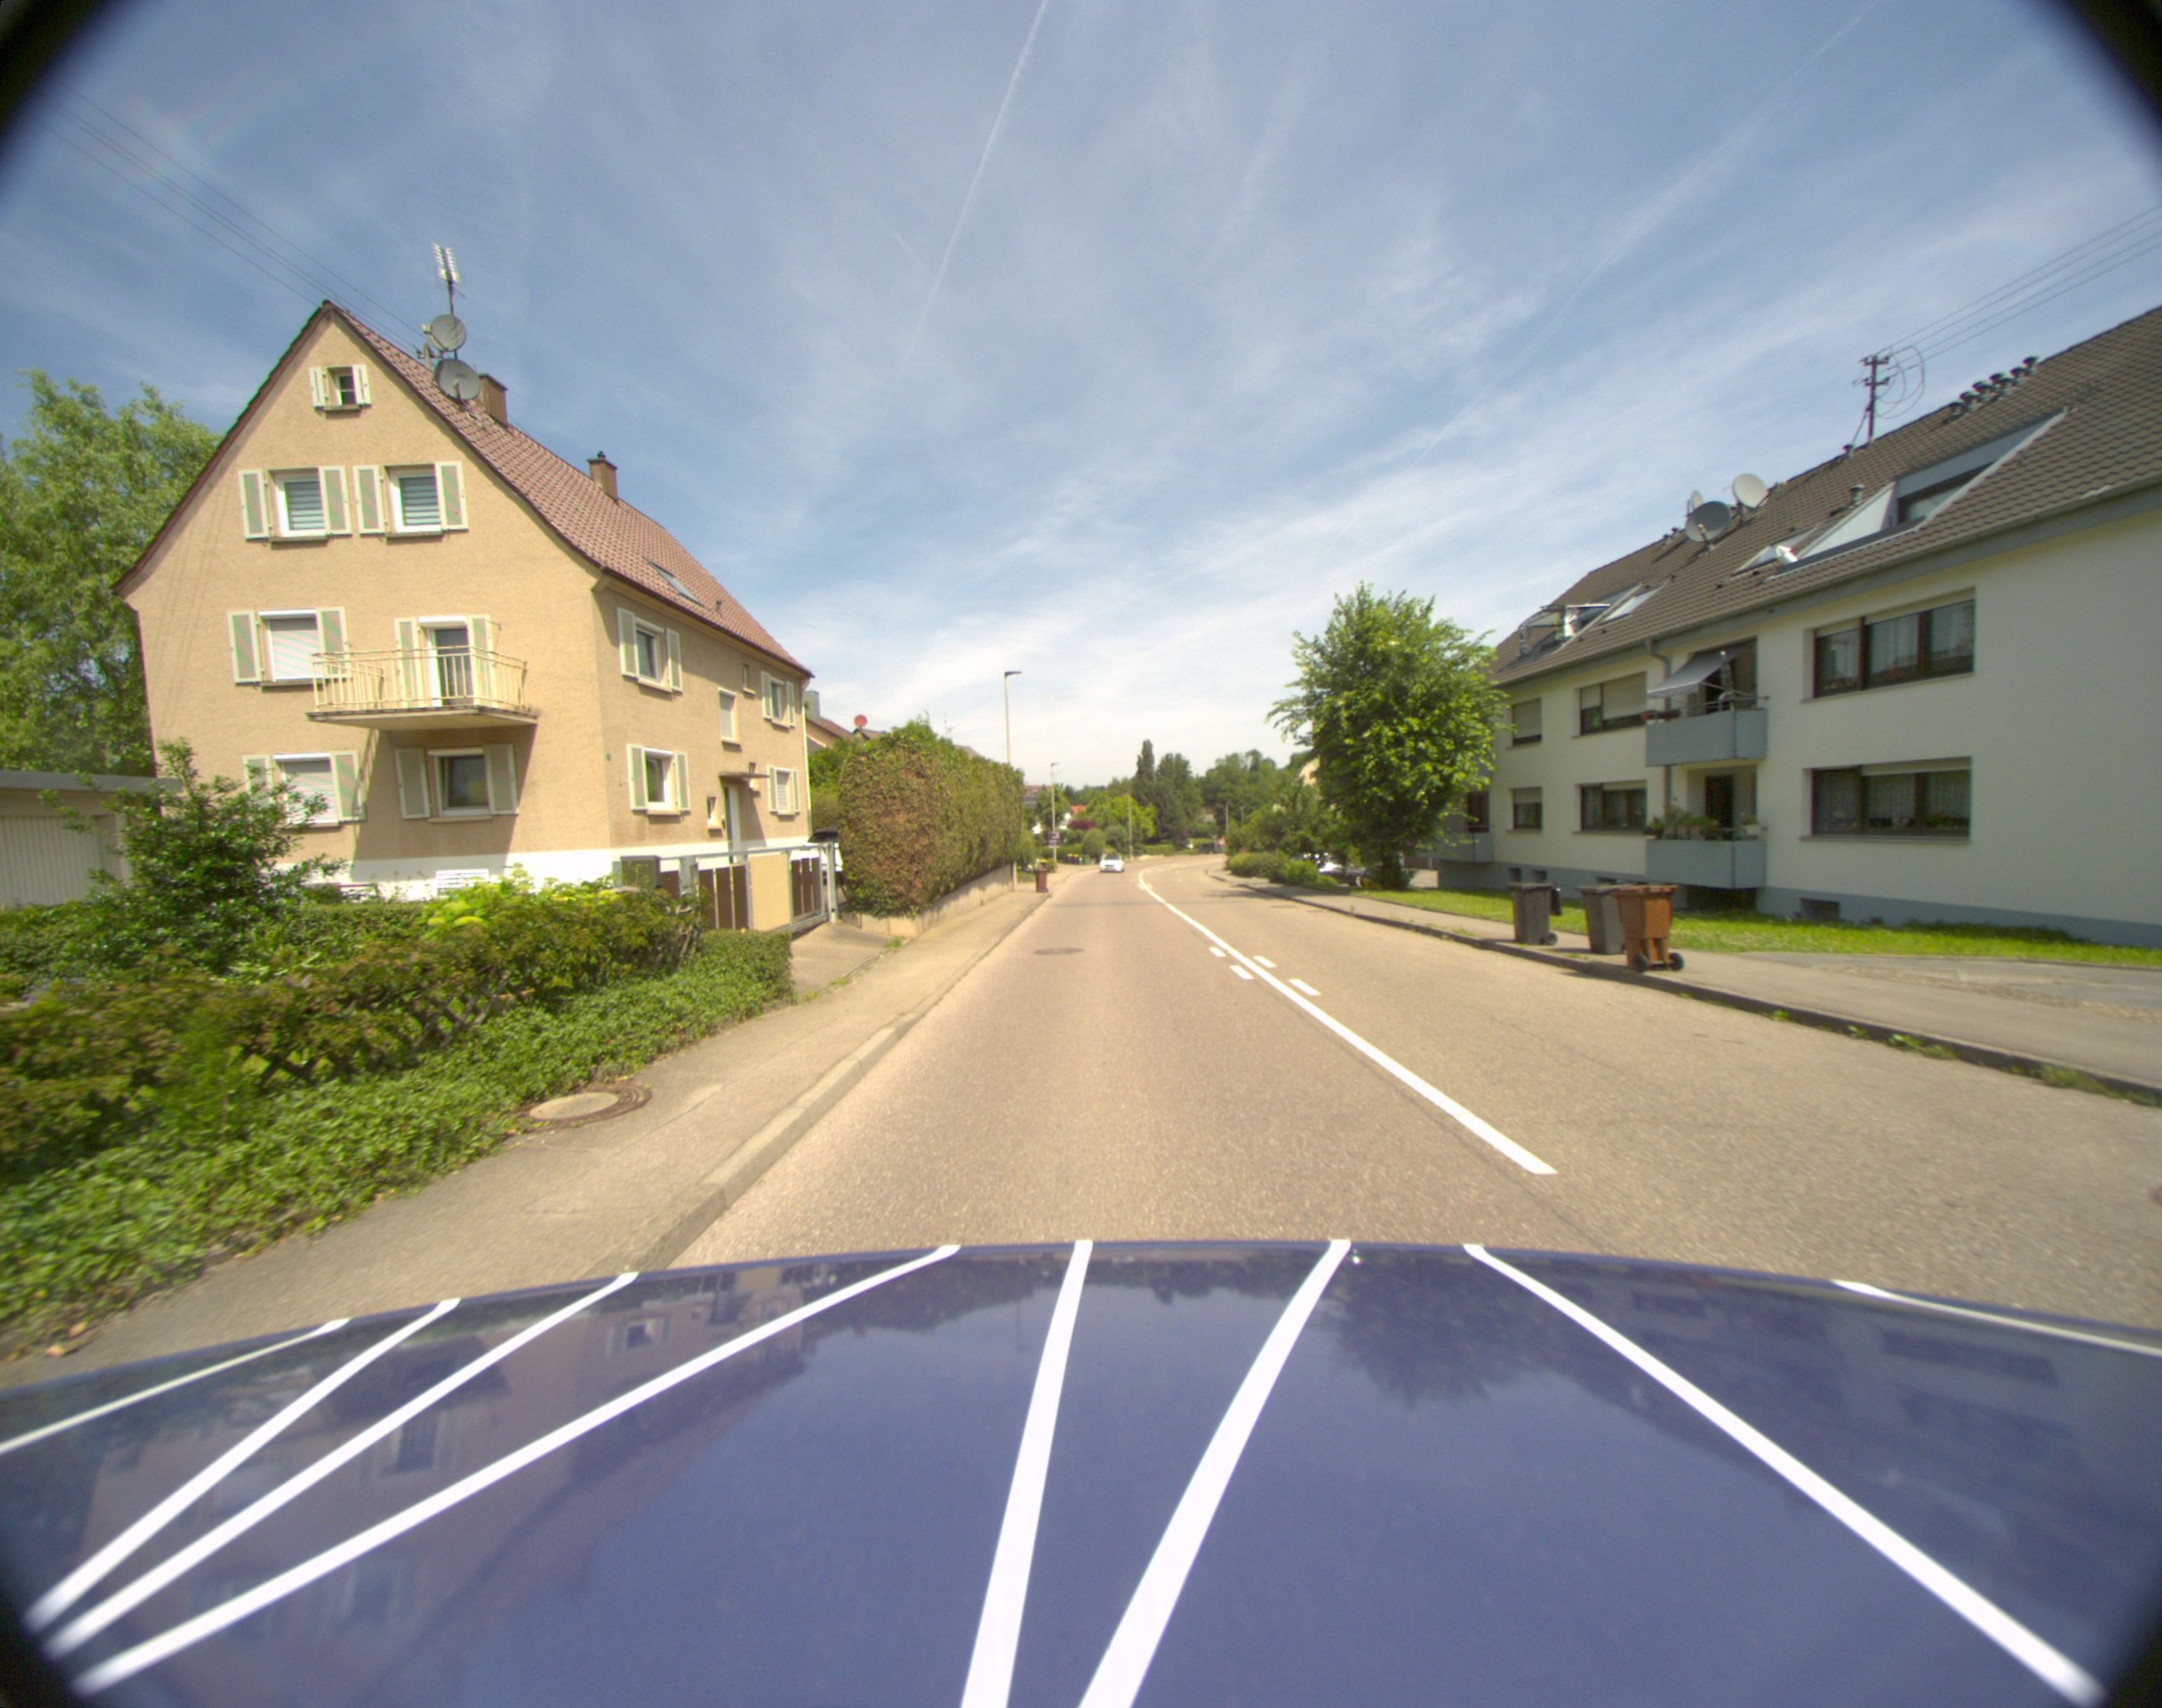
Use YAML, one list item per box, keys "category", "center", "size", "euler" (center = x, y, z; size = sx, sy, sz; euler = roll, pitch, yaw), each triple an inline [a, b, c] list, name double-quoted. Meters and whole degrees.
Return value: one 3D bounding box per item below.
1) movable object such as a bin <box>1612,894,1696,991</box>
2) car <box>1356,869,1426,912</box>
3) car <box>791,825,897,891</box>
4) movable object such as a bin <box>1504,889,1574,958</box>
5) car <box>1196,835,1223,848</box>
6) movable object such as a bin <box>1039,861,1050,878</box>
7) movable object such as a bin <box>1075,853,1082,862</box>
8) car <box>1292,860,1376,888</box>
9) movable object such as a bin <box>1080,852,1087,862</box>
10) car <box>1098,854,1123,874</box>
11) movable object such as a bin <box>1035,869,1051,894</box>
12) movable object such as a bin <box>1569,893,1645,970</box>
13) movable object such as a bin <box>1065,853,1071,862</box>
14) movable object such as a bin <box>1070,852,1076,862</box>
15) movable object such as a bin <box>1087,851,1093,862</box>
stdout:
- category: "movable object such as a bin"
  center: [6.210, 0.950, 8.261]
  size: [0.507, 0.982, 0.563]
  euler: [-1, 1, 8]
- category: "car"
  center: [13.254, 1.520, 32.689]
  size: [1.475, 1.532, 3.230]
  euler: [-1, 3, -5]
- category: "car"
  center: [-6.226, 0.035, 20.393]
  size: [1.609, 1.474, 3.557]
  euler: [-2, 4, 1]
- category: "movable object such as a bin"
  center: [6.537, 0.984, 10.871]
  size: [0.620, 0.912, 0.686]
  euler: [-1, 1, 8]
- category: "car"
  center: [20.795, -2.040, 123.033]
  size: [3.900, 1.938, 1.959]
  euler: [-1, 1, 34]
- category: "movable object such as a bin"
  center: [-2.267, 0.957, 47.533]
  size: [0.589, 1.053, 0.919]
  euler: [-1, 1, 4]
- category: "movable object such as a bin"
  center: [-0.255, 0.362, 80.576]
  size: [0.484, 1.016, 0.565]
  euler: [2, 3, 22]
- category: "car"
  center: [13.736, 1.054, 41.353]
  size: [3.966, 1.240, 1.646]
  euler: [3, 1, 1]
- category: "movable object such as a bin"
  center: [0.271, 0.316, 80.335]
  size: [0.485, 1.064, 0.565]
  euler: [-1, 1, 22]
- category: "car"
  center: [2.459, 0.801, 63.431]
  size: [1.826, 1.543, 3.999]
  euler: [-1, 0, -1]
- category: "movable object such as a bin"
  center: [-1.526, 1.097, 30.896]
  size: [0.589, 0.972, 0.786]
  euler: [0, 1, 1]
- category: "movable object such as a bin"
  center: [6.721, 0.974, 9.729]
  size: [0.564, 0.912, 0.643]
  euler: [-1, 1, 8]
- category: "movable object such as a bin"
  center: [-1.408, 0.401, 81.019]
  size: [0.449, 0.950, 0.516]
  euler: [-1, 1, 19]
- category: "movable object such as a bin"
  center: [-0.860, 0.340, 80.795]
  size: [0.484, 1.016, 0.565]
  euler: [2, 3, 22]
- category: "movable object such as a bin"
  center: [0.903, 0.295, 80.142]
  size: [0.485, 1.101, 0.565]
  euler: [-1, 1, 15]
